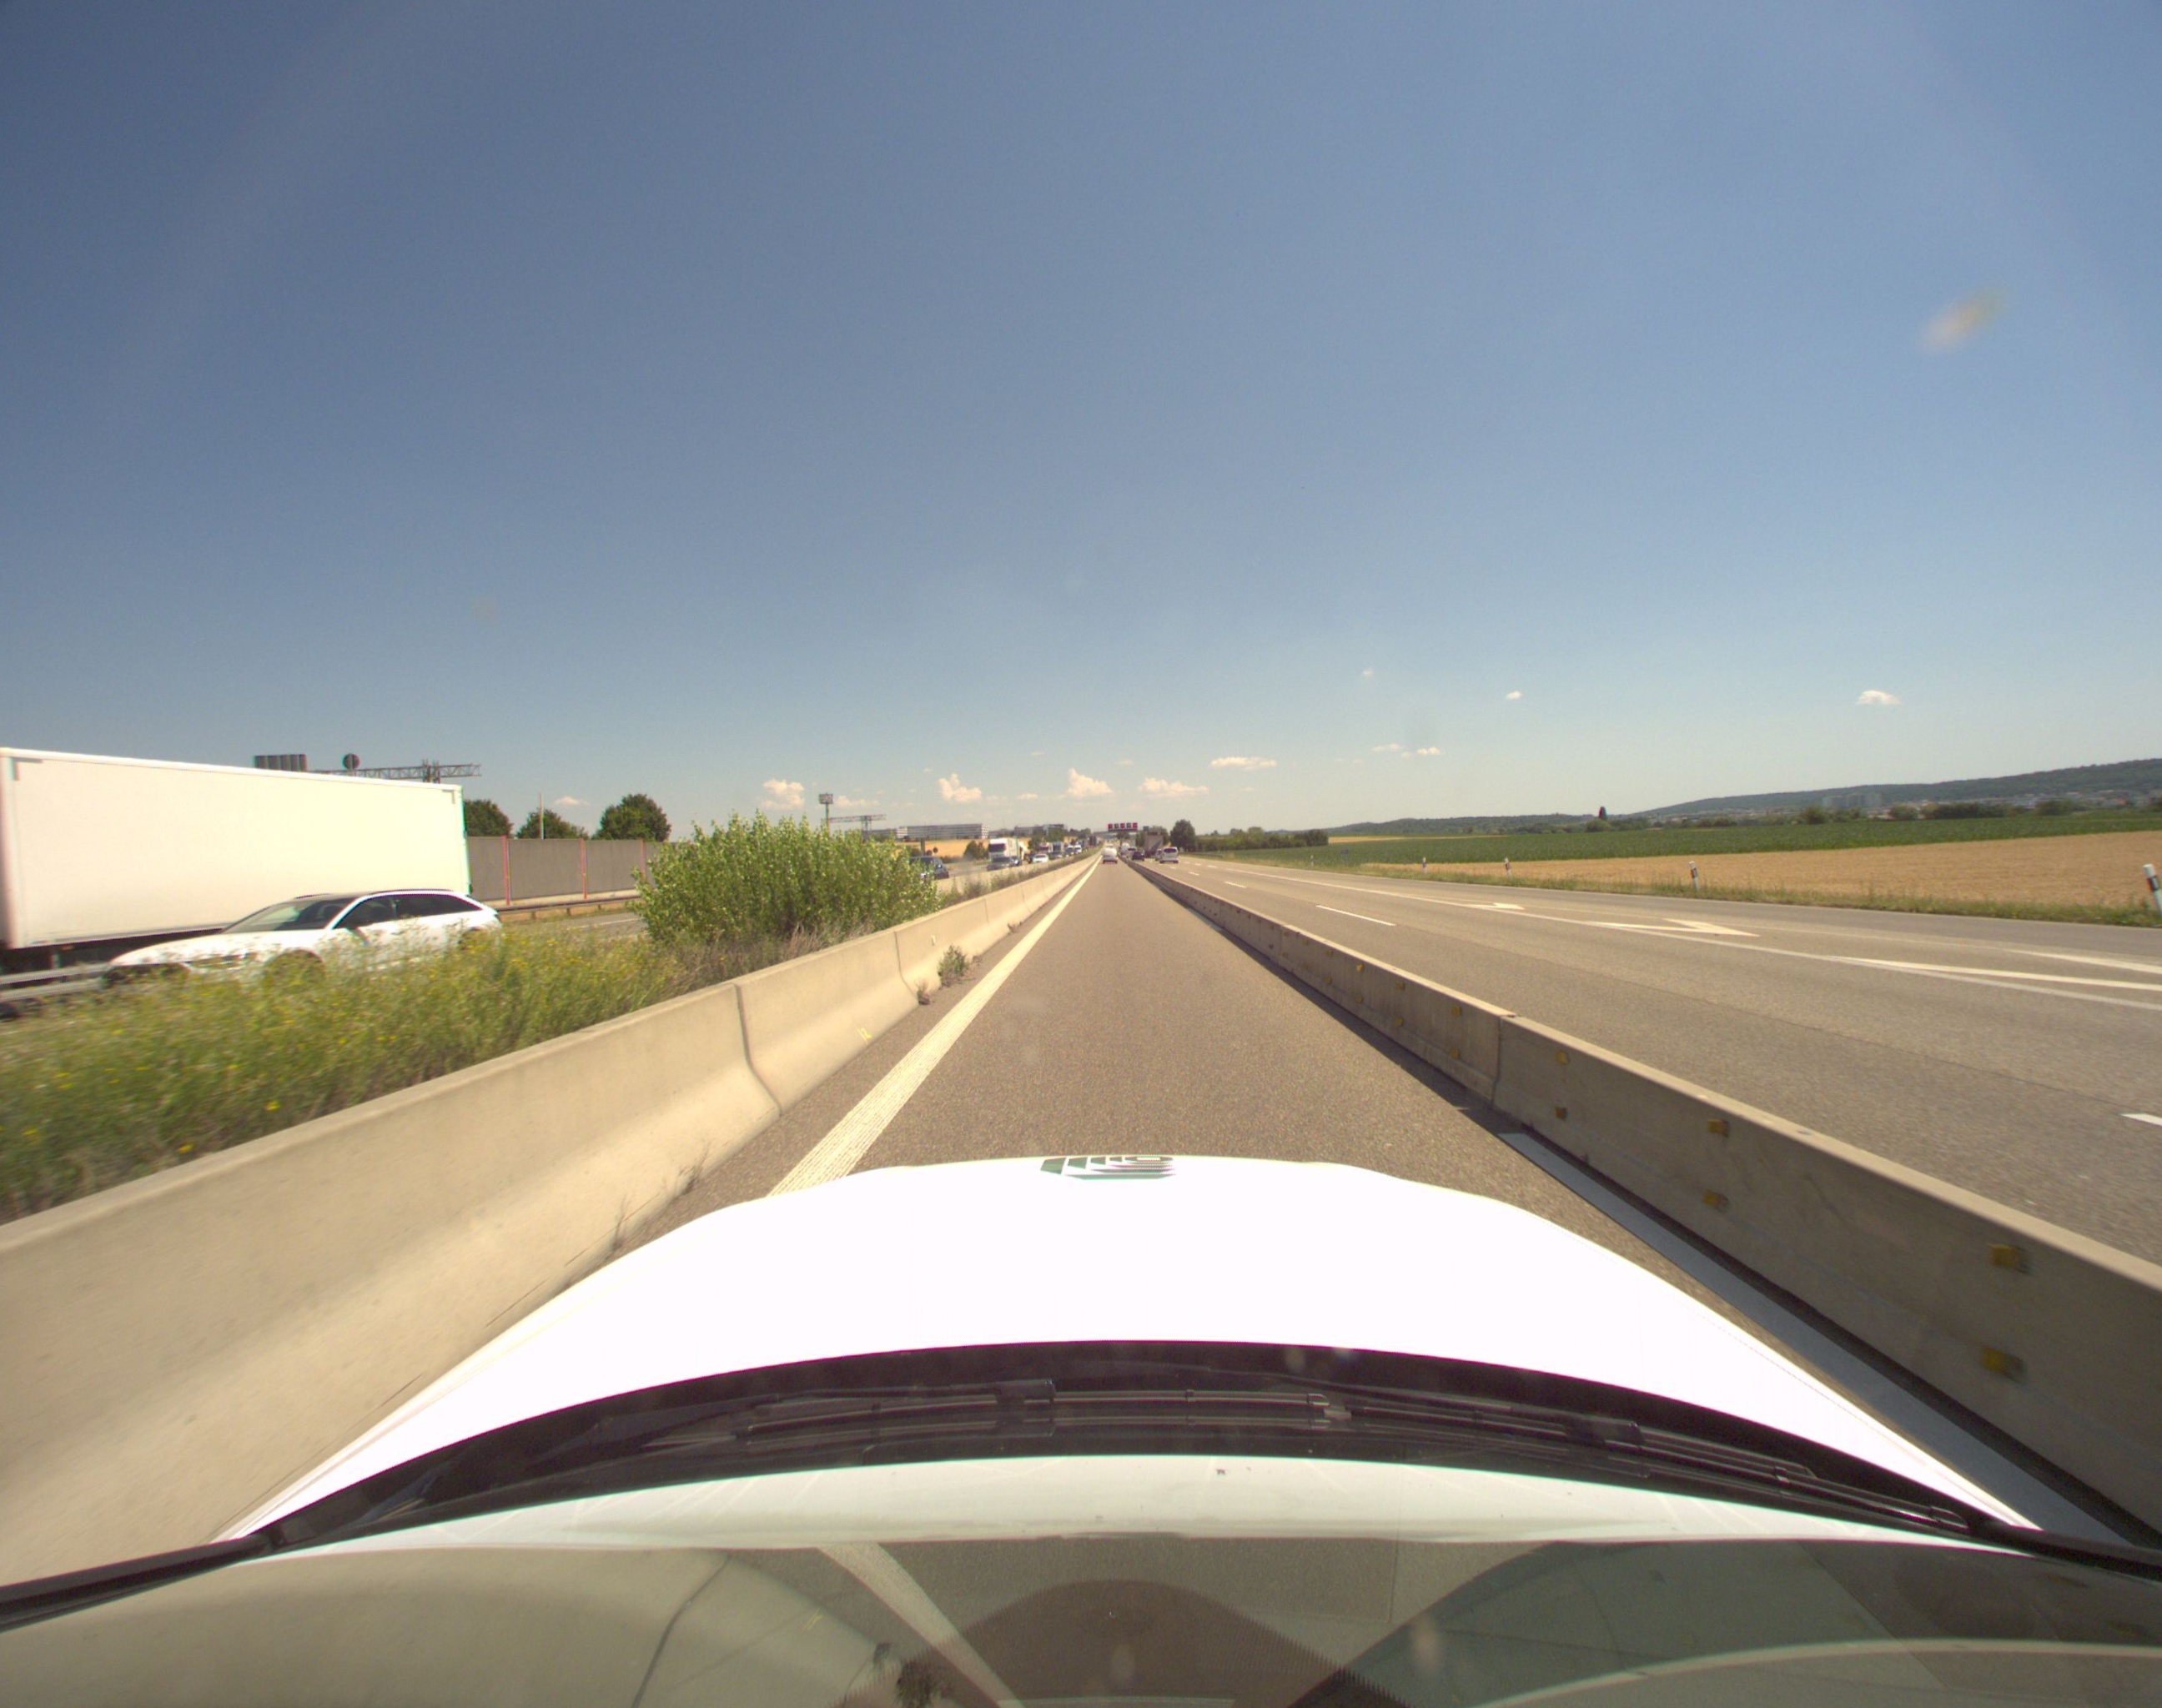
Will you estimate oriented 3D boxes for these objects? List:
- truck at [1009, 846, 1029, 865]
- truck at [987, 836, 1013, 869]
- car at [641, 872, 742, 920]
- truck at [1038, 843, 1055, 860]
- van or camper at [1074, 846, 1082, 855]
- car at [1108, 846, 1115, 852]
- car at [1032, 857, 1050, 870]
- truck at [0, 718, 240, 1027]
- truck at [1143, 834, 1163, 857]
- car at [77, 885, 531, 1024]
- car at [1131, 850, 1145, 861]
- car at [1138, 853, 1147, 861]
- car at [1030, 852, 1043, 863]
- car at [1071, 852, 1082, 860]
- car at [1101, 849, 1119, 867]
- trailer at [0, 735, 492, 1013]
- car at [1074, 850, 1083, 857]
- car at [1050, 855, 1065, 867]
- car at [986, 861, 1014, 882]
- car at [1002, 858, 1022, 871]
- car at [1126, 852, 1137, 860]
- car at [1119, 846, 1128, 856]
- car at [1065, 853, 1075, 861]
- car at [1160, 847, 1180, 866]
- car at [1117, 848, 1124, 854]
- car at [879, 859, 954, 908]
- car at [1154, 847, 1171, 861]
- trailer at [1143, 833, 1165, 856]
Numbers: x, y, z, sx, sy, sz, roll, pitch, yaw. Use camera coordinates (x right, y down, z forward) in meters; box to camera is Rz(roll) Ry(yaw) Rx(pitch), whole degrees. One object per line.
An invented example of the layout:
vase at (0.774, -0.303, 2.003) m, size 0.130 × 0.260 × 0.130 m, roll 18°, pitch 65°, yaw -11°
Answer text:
truck at (-13.546, 0.281, 179.616) m, size 2.889 × 3.776 × 13.291 m, roll -4°, pitch 0°, yaw 1°
truck at (-11.464, -0.191, 115.395) m, size 2.860 × 4.374 × 4.905 m, roll -3°, pitch 0°, yaw 2°
car at (-14.077, 1.486, 29.682) m, size 1.649 × 1.519 × 4.002 m, roll -1°, pitch 0°, yaw 2°
truck at (-8.188, -0.636, 196.727) m, size 2.784 × 3.609 × 13.297 m, roll -4°, pitch 0°, yaw 2°
van or camper at (-0.748, -0.910, 217.862) m, size 2.028 × 2.221 × 7.211 m, roll 0°, pitch 0°, yaw 2°
car at (9.218, -1.430, 244.229) m, size 1.986 × 1.835 × 4.002 m, roll -1°, pitch 0°, yaw 2°
car at (-4.662, 1.119, 95.858) m, size 1.668 × 1.519 × 4.510 m, roll -1°, pitch 0°, yaw 2°
truck at (-14.836, 0.277, 10.603) m, size 2.630 × 3.873 × 4.727 m, roll -3°, pitch 0°, yaw 2°
truck at (13.090, -1.551, 148.618) m, size 3.259 × 3.967 × 4.914 m, roll -1°, pitch 0°, yaw 2°
car at (-10.951, 1.286, 12.220) m, size 1.784 × 1.430 × 5.107 m, roll -2°, pitch 0°, yaw 2°
car at (7.863, 0.257, 113.538) m, size 1.767 × 1.447 × 4.002 m, roll -1°, pitch 0°, yaw 2°
car at (14.665, 0.681, 194.679) m, size 1.986 × 2.013 × 4.002 m, roll -1°, pitch 0°, yaw 2°
car at (-6.897, 0.532, 127.234) m, size 1.649 × 1.651 × 4.667 m, roll -1°, pitch 0°, yaw 2°
car at (-0.929, 0.384, 165.003) m, size 1.836 × 1.569 × 5.347 m, roll -1°, pitch 0°, yaw 2°
car at (3.446, 0.444, 96.961) m, size 1.986 × 2.013 × 4.002 m, roll -1°, pitch 0°, yaw 2°
trailer at (-14.691, 0.306, 14.953) m, size 2.637 × 3.873 × 6.619 m, roll -3°, pitch 0°, yaw 2°
car at (-0.503, -0.065, 188.591) m, size 1.775 × 1.589 × 4.543 m, roll -1°, pitch 0°, yaw 2°
car at (-3.481, 1.004, 120.339) m, size 1.883 × 1.617 × 4.823 m, roll -1°, pitch 0°, yaw 2°
car at (-6.246, 1.334, 63.076) m, size 1.649 × 1.519 × 4.002 m, roll -1°, pitch 0°, yaw 2°
car at (-8.192, 1.237, 97.566) m, size 1.805 × 1.486 × 4.965 m, roll -1°, pitch 0°, yaw 2°
car at (9.059, 0.350, 147.095) m, size 1.767 × 1.447 × 4.002 m, roll -1°, pitch 0°, yaw 2°
car at (9.783, -0.702, 187.964) m, size 1.767 × 2.392 × 4.002 m, roll -1°, pitch 0°, yaw 2°
car at (-2.004, 0.521, 149.373) m, size 1.649 × 1.351 × 4.269 m, roll -1°, pitch 0°, yaw 2°
car at (10.264, 0.247, 94.445) m, size 1.986 × 2.120 × 4.002 m, roll -1°, pitch 0°, yaw 2°
car at (12.527, -0.907, 257.512) m, size 1.986 × 1.835 × 4.002 m, roll -1°, pitch 0°, yaw 2°
car at (-6.718, 1.166, 33.772) m, size 1.986 × 1.759 × 4.646 m, roll -2°, pitch 1°, yaw 2°
car at (11.345, 0.024, 113.523) m, size 1.986 × 1.794 × 4.002 m, roll -1°, pitch 0°, yaw 2°
trailer at (12.954, -1.582, 144.376) m, size 3.265 × 3.967 × 9.116 m, roll -1°, pitch 0°, yaw 2°
